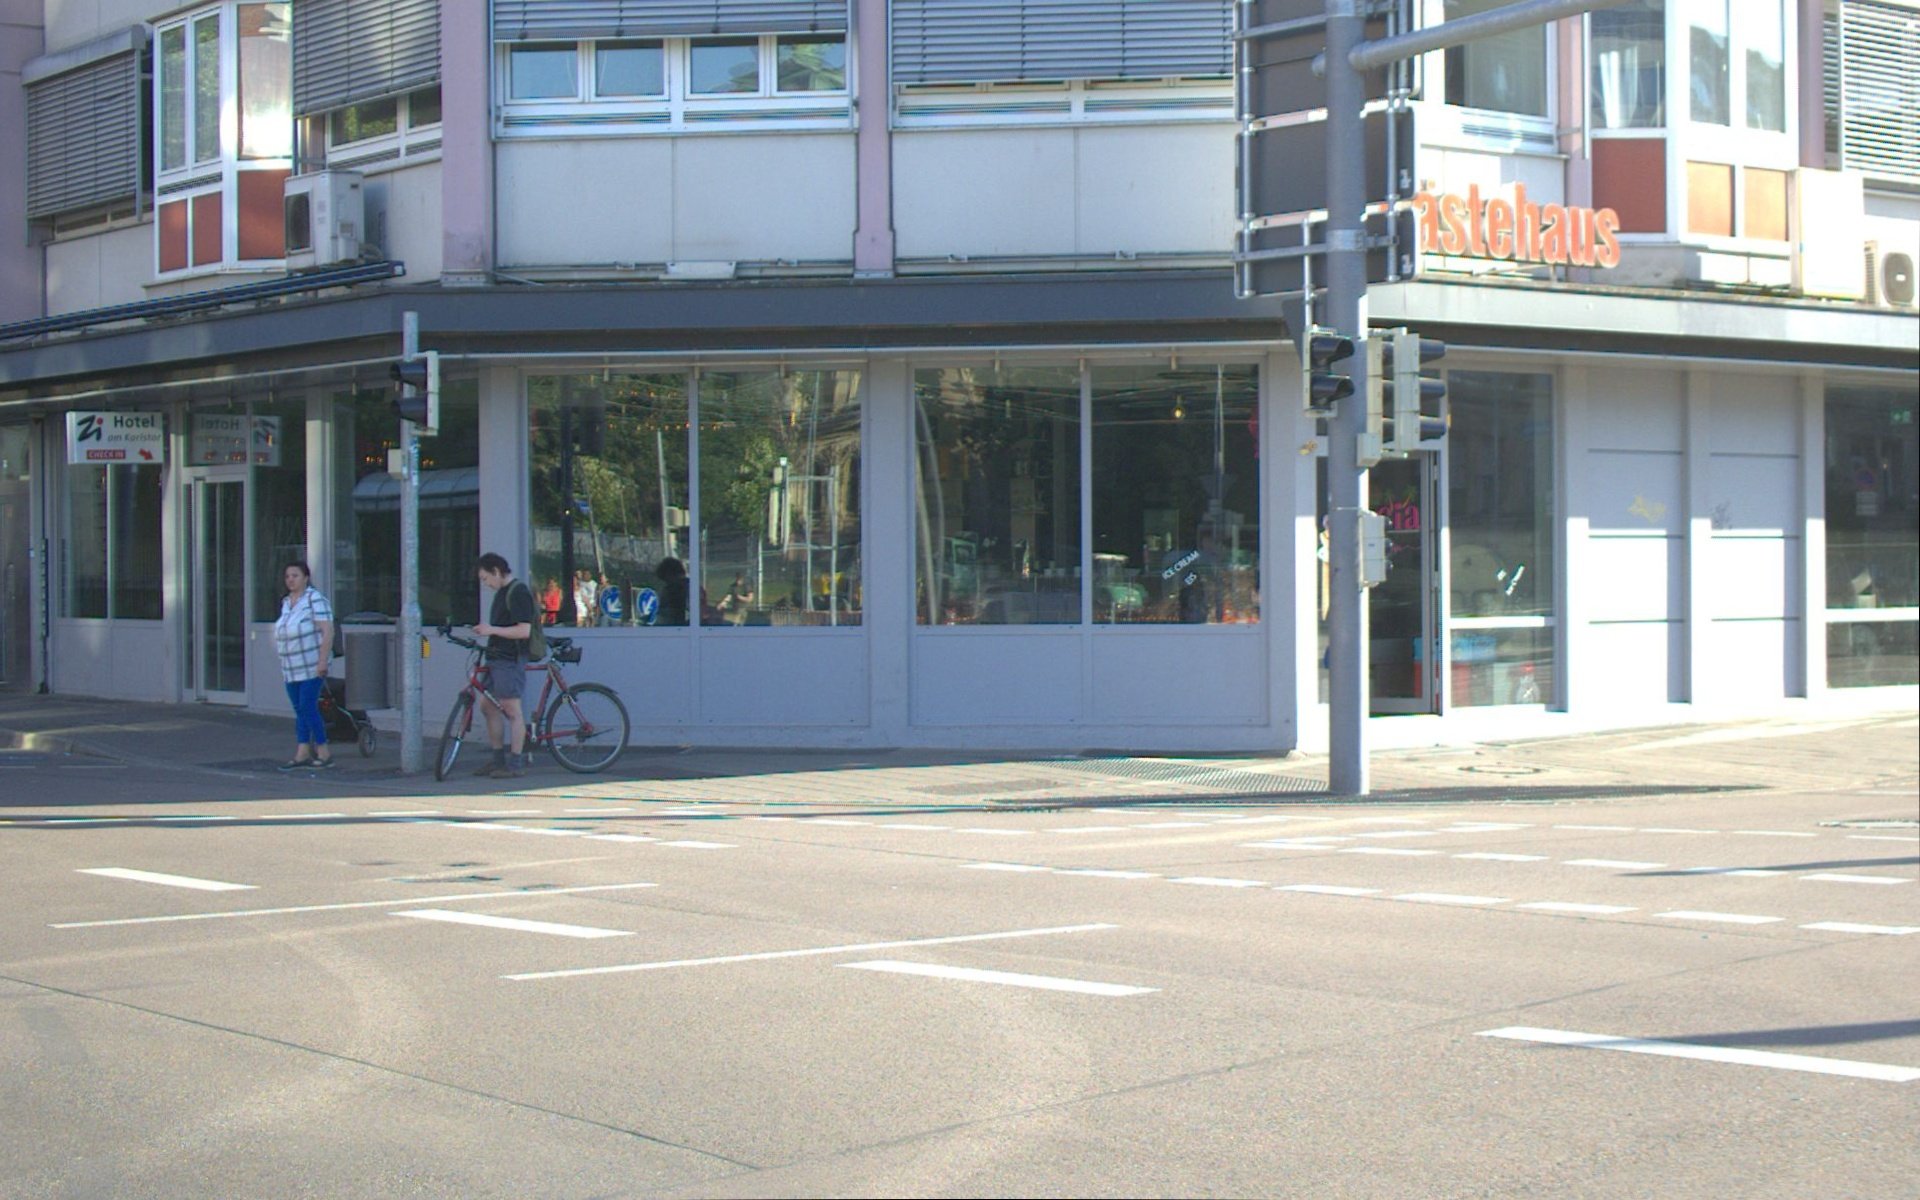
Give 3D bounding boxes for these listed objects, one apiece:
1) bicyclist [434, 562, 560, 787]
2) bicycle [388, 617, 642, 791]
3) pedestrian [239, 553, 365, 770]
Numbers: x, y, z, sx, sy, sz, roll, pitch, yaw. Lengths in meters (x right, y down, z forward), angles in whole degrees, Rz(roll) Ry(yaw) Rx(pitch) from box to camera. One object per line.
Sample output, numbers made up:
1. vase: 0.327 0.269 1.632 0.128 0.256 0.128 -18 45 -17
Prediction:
1. bicyclist: -3.425 0.535 25.419 0.656 1.591 0.641 -3 4 -37
2. bicycle: -3.291 0.754 25.532 1.764 1.141 0.641 -3 4 -37
3. pedestrian: -5.096 0.468 26.640 0.715 1.656 0.632 0 0 26
